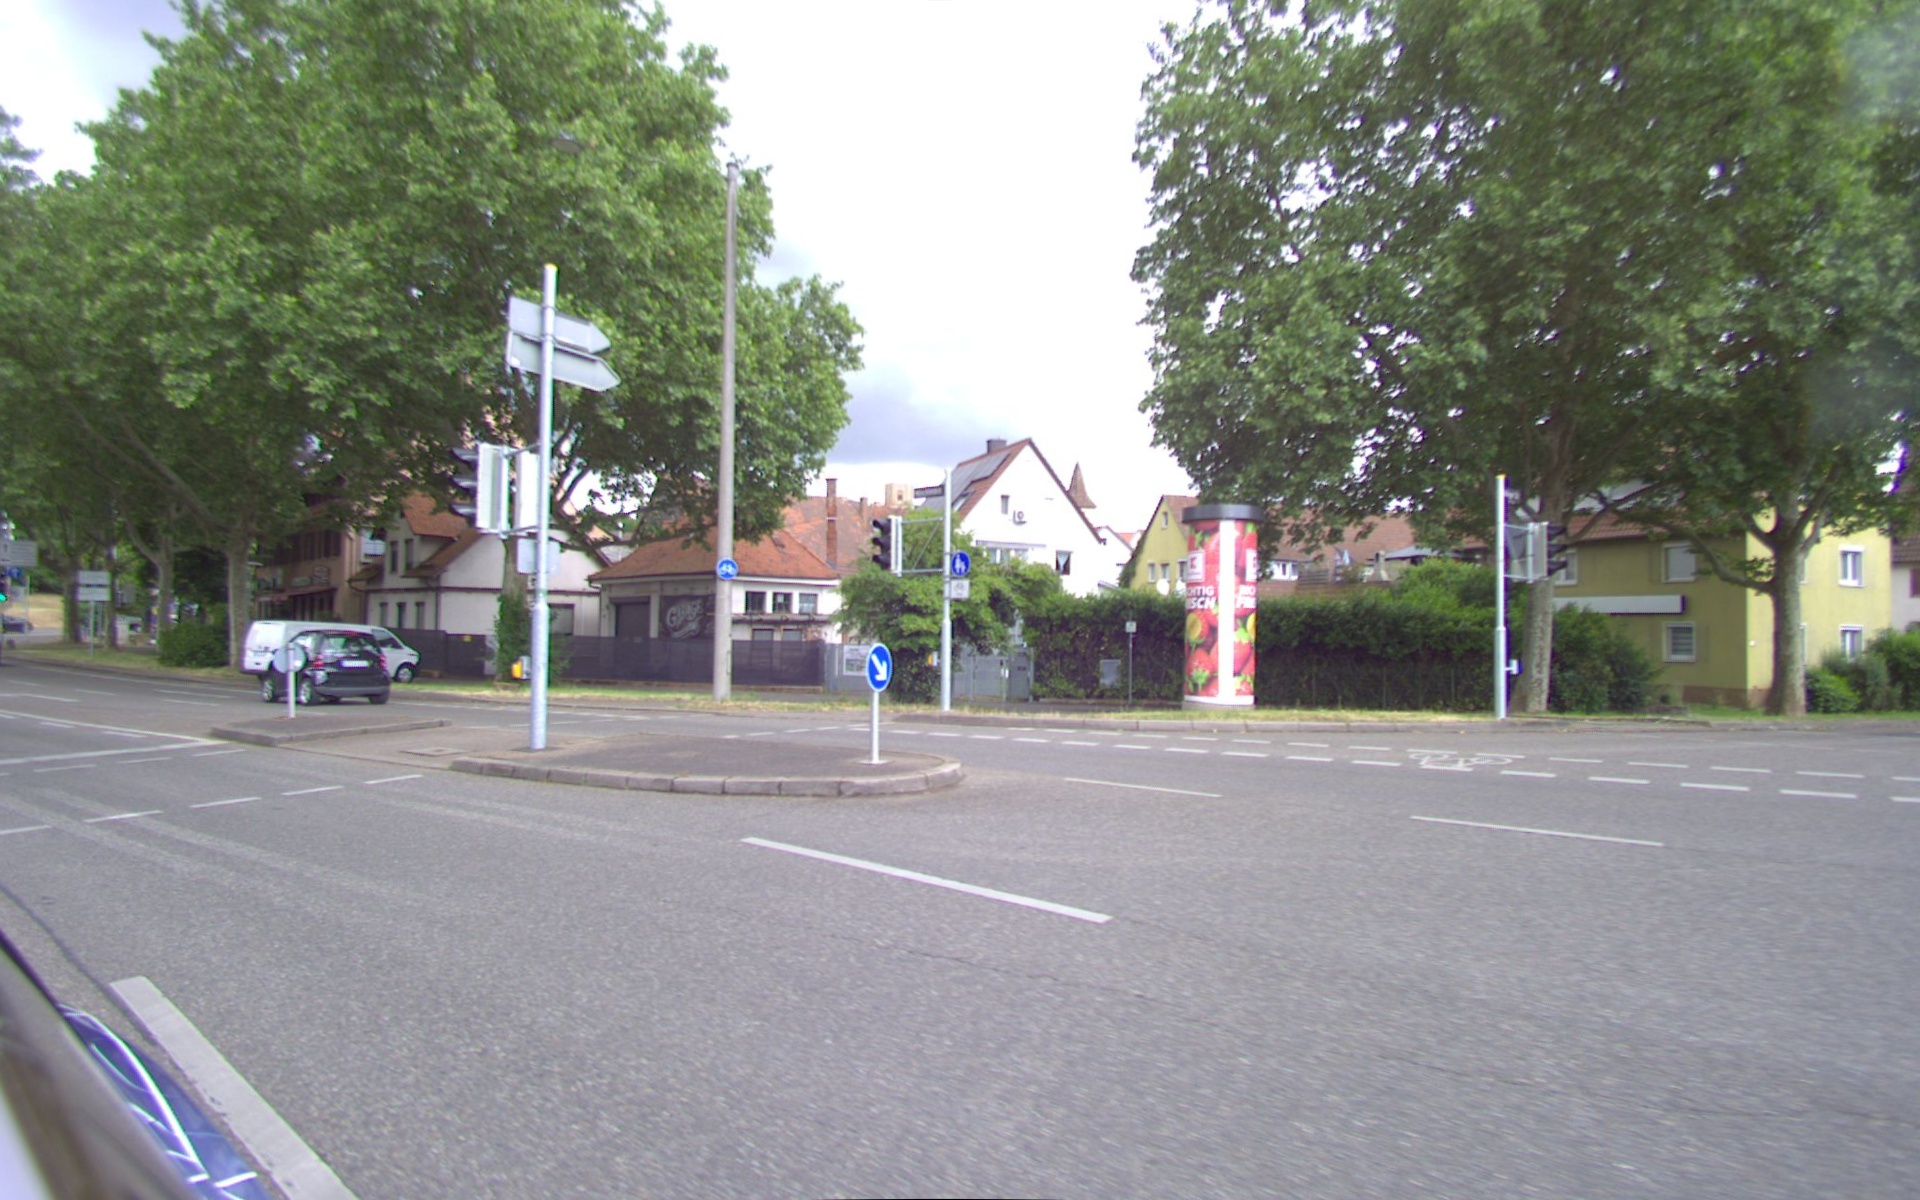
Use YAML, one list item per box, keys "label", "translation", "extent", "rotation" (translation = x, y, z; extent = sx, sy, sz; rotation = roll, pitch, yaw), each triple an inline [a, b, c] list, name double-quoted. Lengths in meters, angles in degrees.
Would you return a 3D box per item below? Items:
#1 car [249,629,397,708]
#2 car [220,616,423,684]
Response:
- label: "car"
  translation: [-13.502, 1.429, 21.409]
  extent: [3.183, 1.539, 1.554]
  rotation: [-2, -5, 36]
- label: "car"
  translation: [-20.136, 1.638, 32.265]
  extent: [2.070, 1.946, 5.205]
  rotation: [0, -4, 21]
